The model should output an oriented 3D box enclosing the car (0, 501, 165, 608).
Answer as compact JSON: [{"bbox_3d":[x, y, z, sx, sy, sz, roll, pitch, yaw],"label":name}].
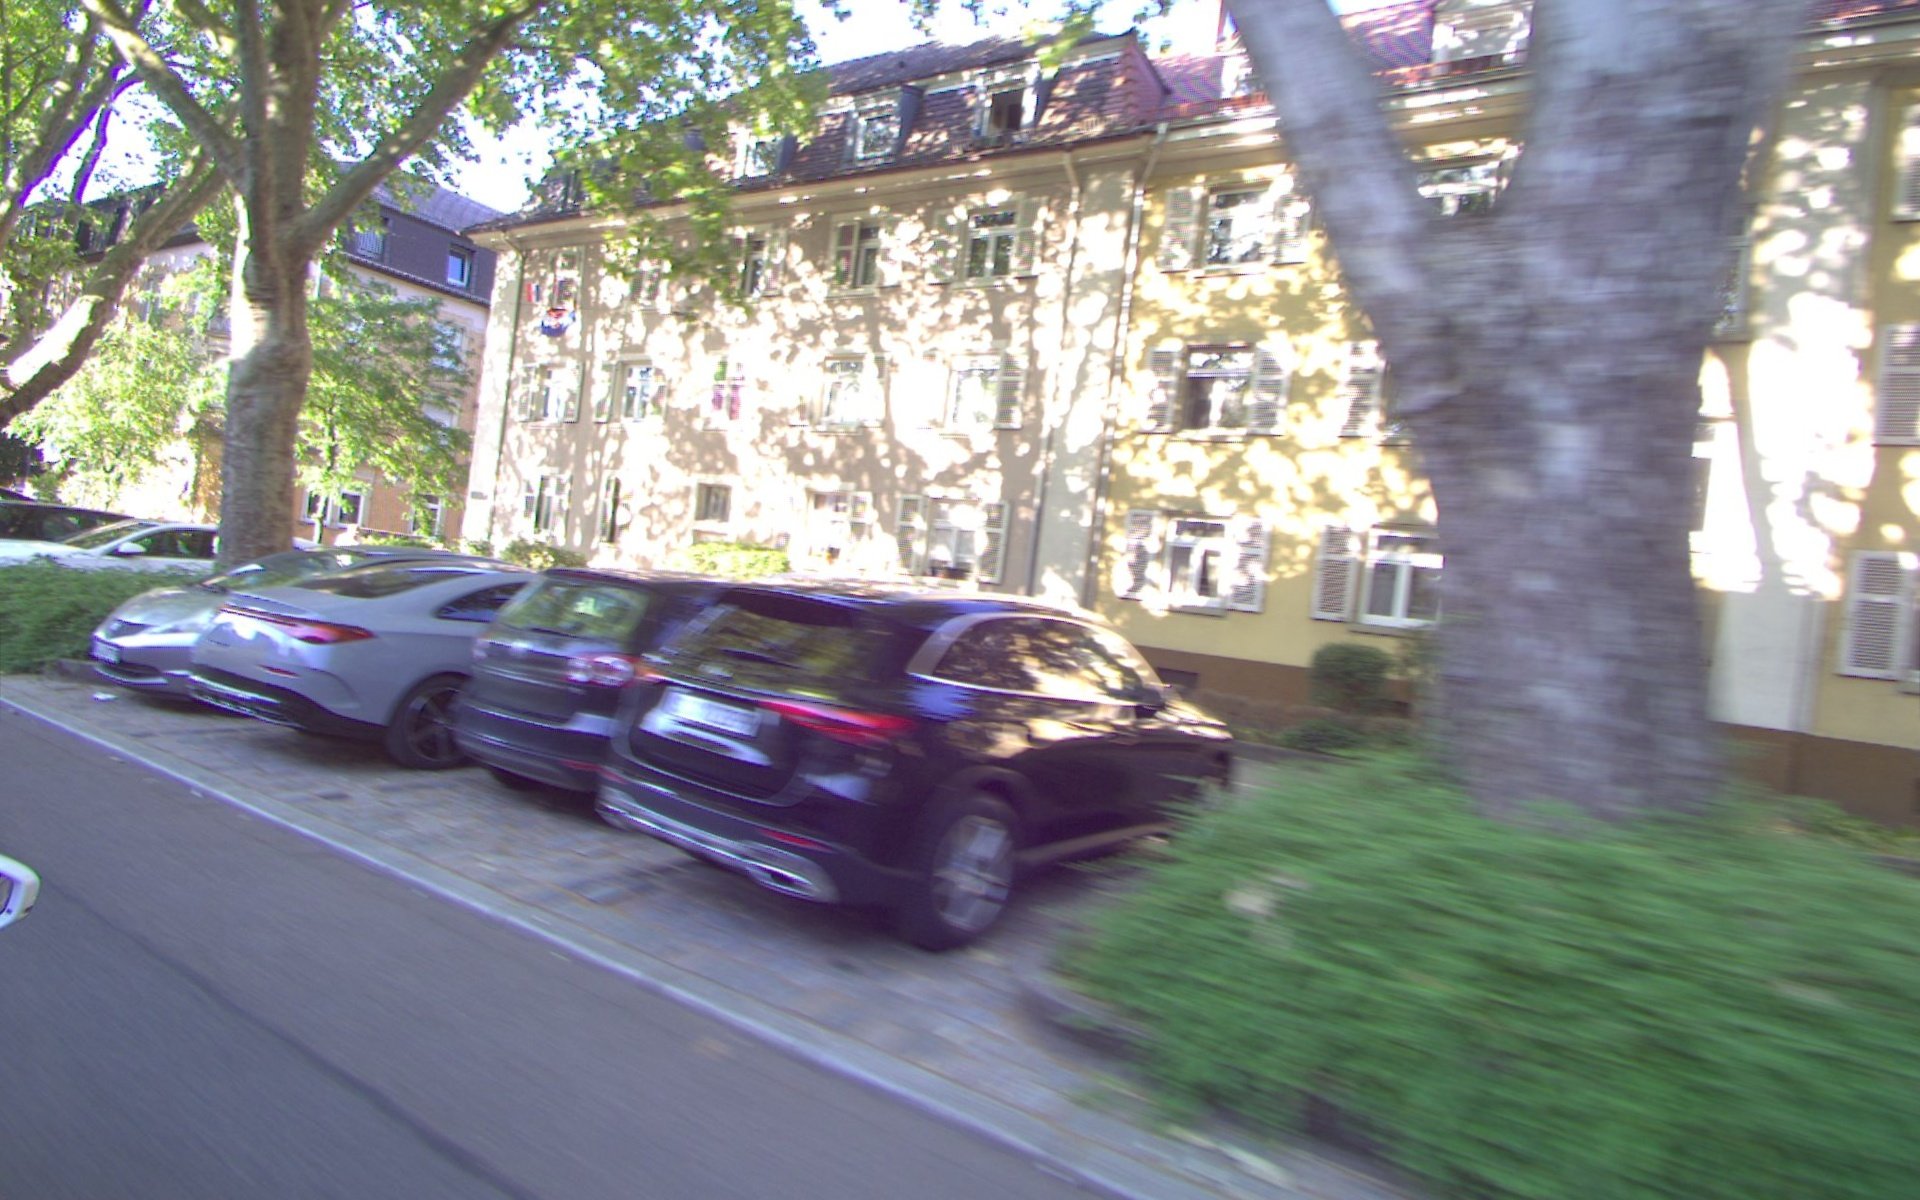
[{"bbox_3d":[-14.690,-0.813,15.243,1.858,1.394,3.655,7,-1,32],"label":"car"}]

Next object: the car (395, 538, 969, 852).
[{"bbox_3d":[-1.732,0.632,7.355,1.748,1.565,3.682,7,-1,33],"label":"car"}]

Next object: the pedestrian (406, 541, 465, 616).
[{"bbox_3d":[-11.184,-0.461,21.444,0.807,1.473,0.662,7,0,31],"label":"pedestrian"}]

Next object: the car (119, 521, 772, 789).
[{"bbox_3d":[-3.757,0.461,8.220,1.915,1.456,4.304,7,-1,30],"label":"car"}]

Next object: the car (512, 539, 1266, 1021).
[{"bbox_3d":[0.037,0.747,6.020,1.995,1.622,4.496,7,1,35],"label":"car"}]

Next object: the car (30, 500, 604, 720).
[{"bbox_3d":[-5.739,0.203,9.557,1.766,1.527,4.149,7,-1,32],"label":"car"}]

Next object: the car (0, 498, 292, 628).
[{"bbox_3d":[-12.308,-0.528,14.618,1.724,1.452,3.889,7,-1,31],"label":"car"}]

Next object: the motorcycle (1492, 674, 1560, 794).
[{"bbox_3d":[7.644,1.761,13.623,0.612,1.379,1.805,7,2,29],"label":"motorcycle"}]

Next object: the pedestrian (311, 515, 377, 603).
[{"bbox_3d":[-13.204,-0.877,21.565,0.807,1.760,0.761,7,0,31],"label":"pedestrian"}]

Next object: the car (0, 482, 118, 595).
[{"bbox_3d":[-16.565,-1.184,16.315,1.927,1.690,3.932,7,-1,30],"label":"car"}]

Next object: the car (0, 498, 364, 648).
[{"bbox_3d":[-10.574,-0.340,12.841,1.860,1.463,4.694,7,-1,31],"label":"car"}]
